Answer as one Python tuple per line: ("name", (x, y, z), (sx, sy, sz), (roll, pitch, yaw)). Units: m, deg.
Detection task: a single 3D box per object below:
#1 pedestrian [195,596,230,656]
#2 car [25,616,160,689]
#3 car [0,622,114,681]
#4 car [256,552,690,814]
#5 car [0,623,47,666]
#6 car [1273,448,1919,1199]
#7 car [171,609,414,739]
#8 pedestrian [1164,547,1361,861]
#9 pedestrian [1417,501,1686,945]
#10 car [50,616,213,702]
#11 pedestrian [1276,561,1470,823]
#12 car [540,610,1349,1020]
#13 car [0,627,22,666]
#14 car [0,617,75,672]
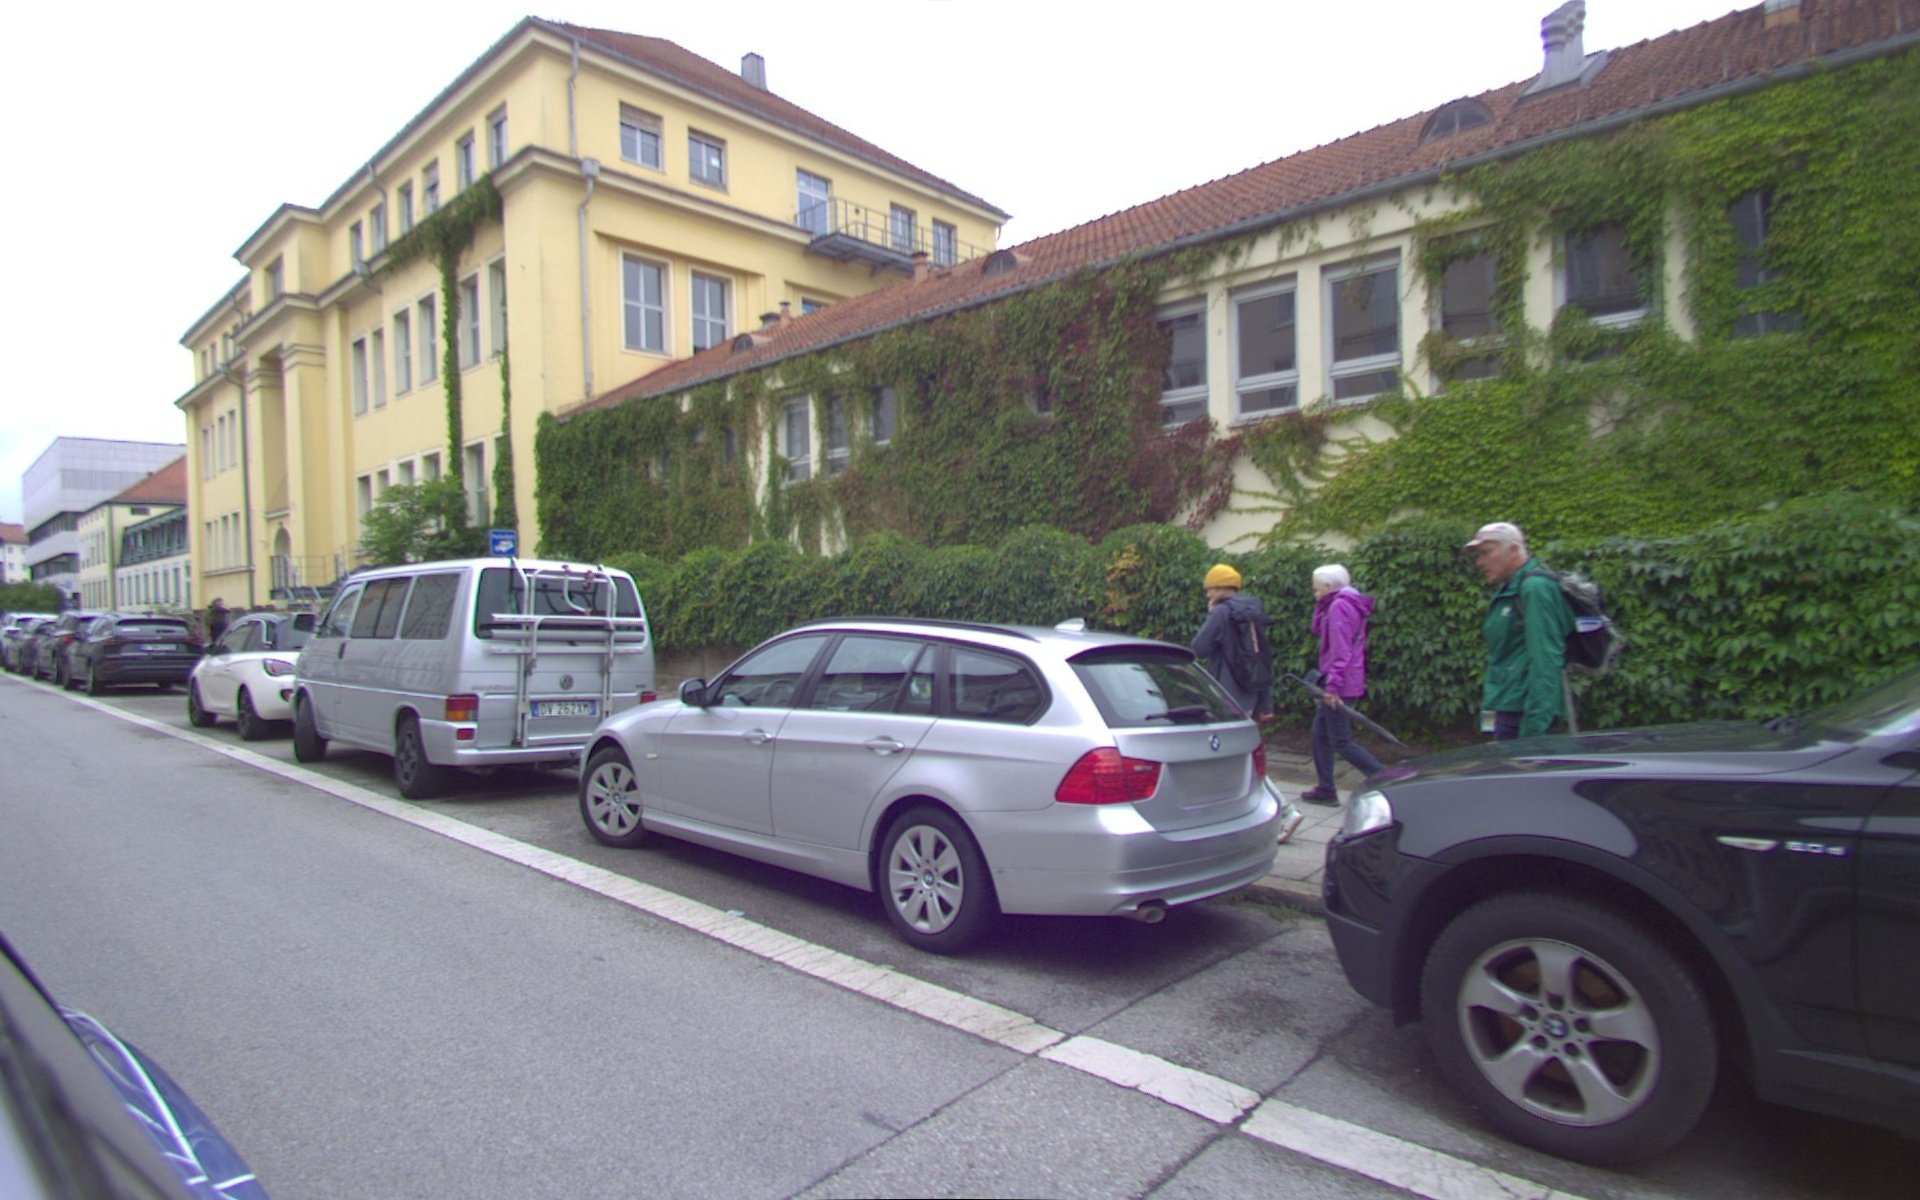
("pedestrian", (-23.229, 0.793, 31.453), (0.766, 1.838, 0.782), (-1, 0, -45))
("car", (-19.910, 1.160, 23.174), (4.272, 1.514, 1.750), (-2, -3, 42))
("car", (-23.963, 1.346, 26.681), (4.598, 1.419, 1.755), (-2, -4, 40))
("car", (-4.702, 0.675, 9.376), (4.880, 1.812, 1.872), (-2, -4, 42))
("car", (-33.641, 1.555, 35.683), (3.914, 1.457, 1.590), (-1, -3, 40))
("car", (3.191, 0.500, 2.252), (4.489, 1.619, 1.684), (-1, -3, 41))
("car", (-8.509, 0.867, 12.804), (3.557, 1.420, 1.649), (-2, -3, 41))
("pedestrian", (1.764, 0.555, 5.922), (0.872, 1.665, 0.675), (-2, 0, 41))
("pedestrian", (2.713, 0.490, 4.641), (0.872, 1.768, 0.834), (-2, 0, 43))
("car", (-16.146, 1.109, 19.658), (4.218, 1.492, 1.699), (-2, -4, 41))
("pedestrian", (2.620, 0.530, 6.418), (0.872, 1.505, 0.834), (-2, 0, 43))
("car", (-0.413, 0.812, 5.645), (4.490, 1.388, 1.784), (-1, -4, 42))
("car", (-37.508, 1.760, 38.972), (3.779, 1.450, 1.715), (-2, -3, 42))
("car", (-29.844, 1.412, 32.266), (4.296, 1.653, 1.763), (-1, -4, 40))
